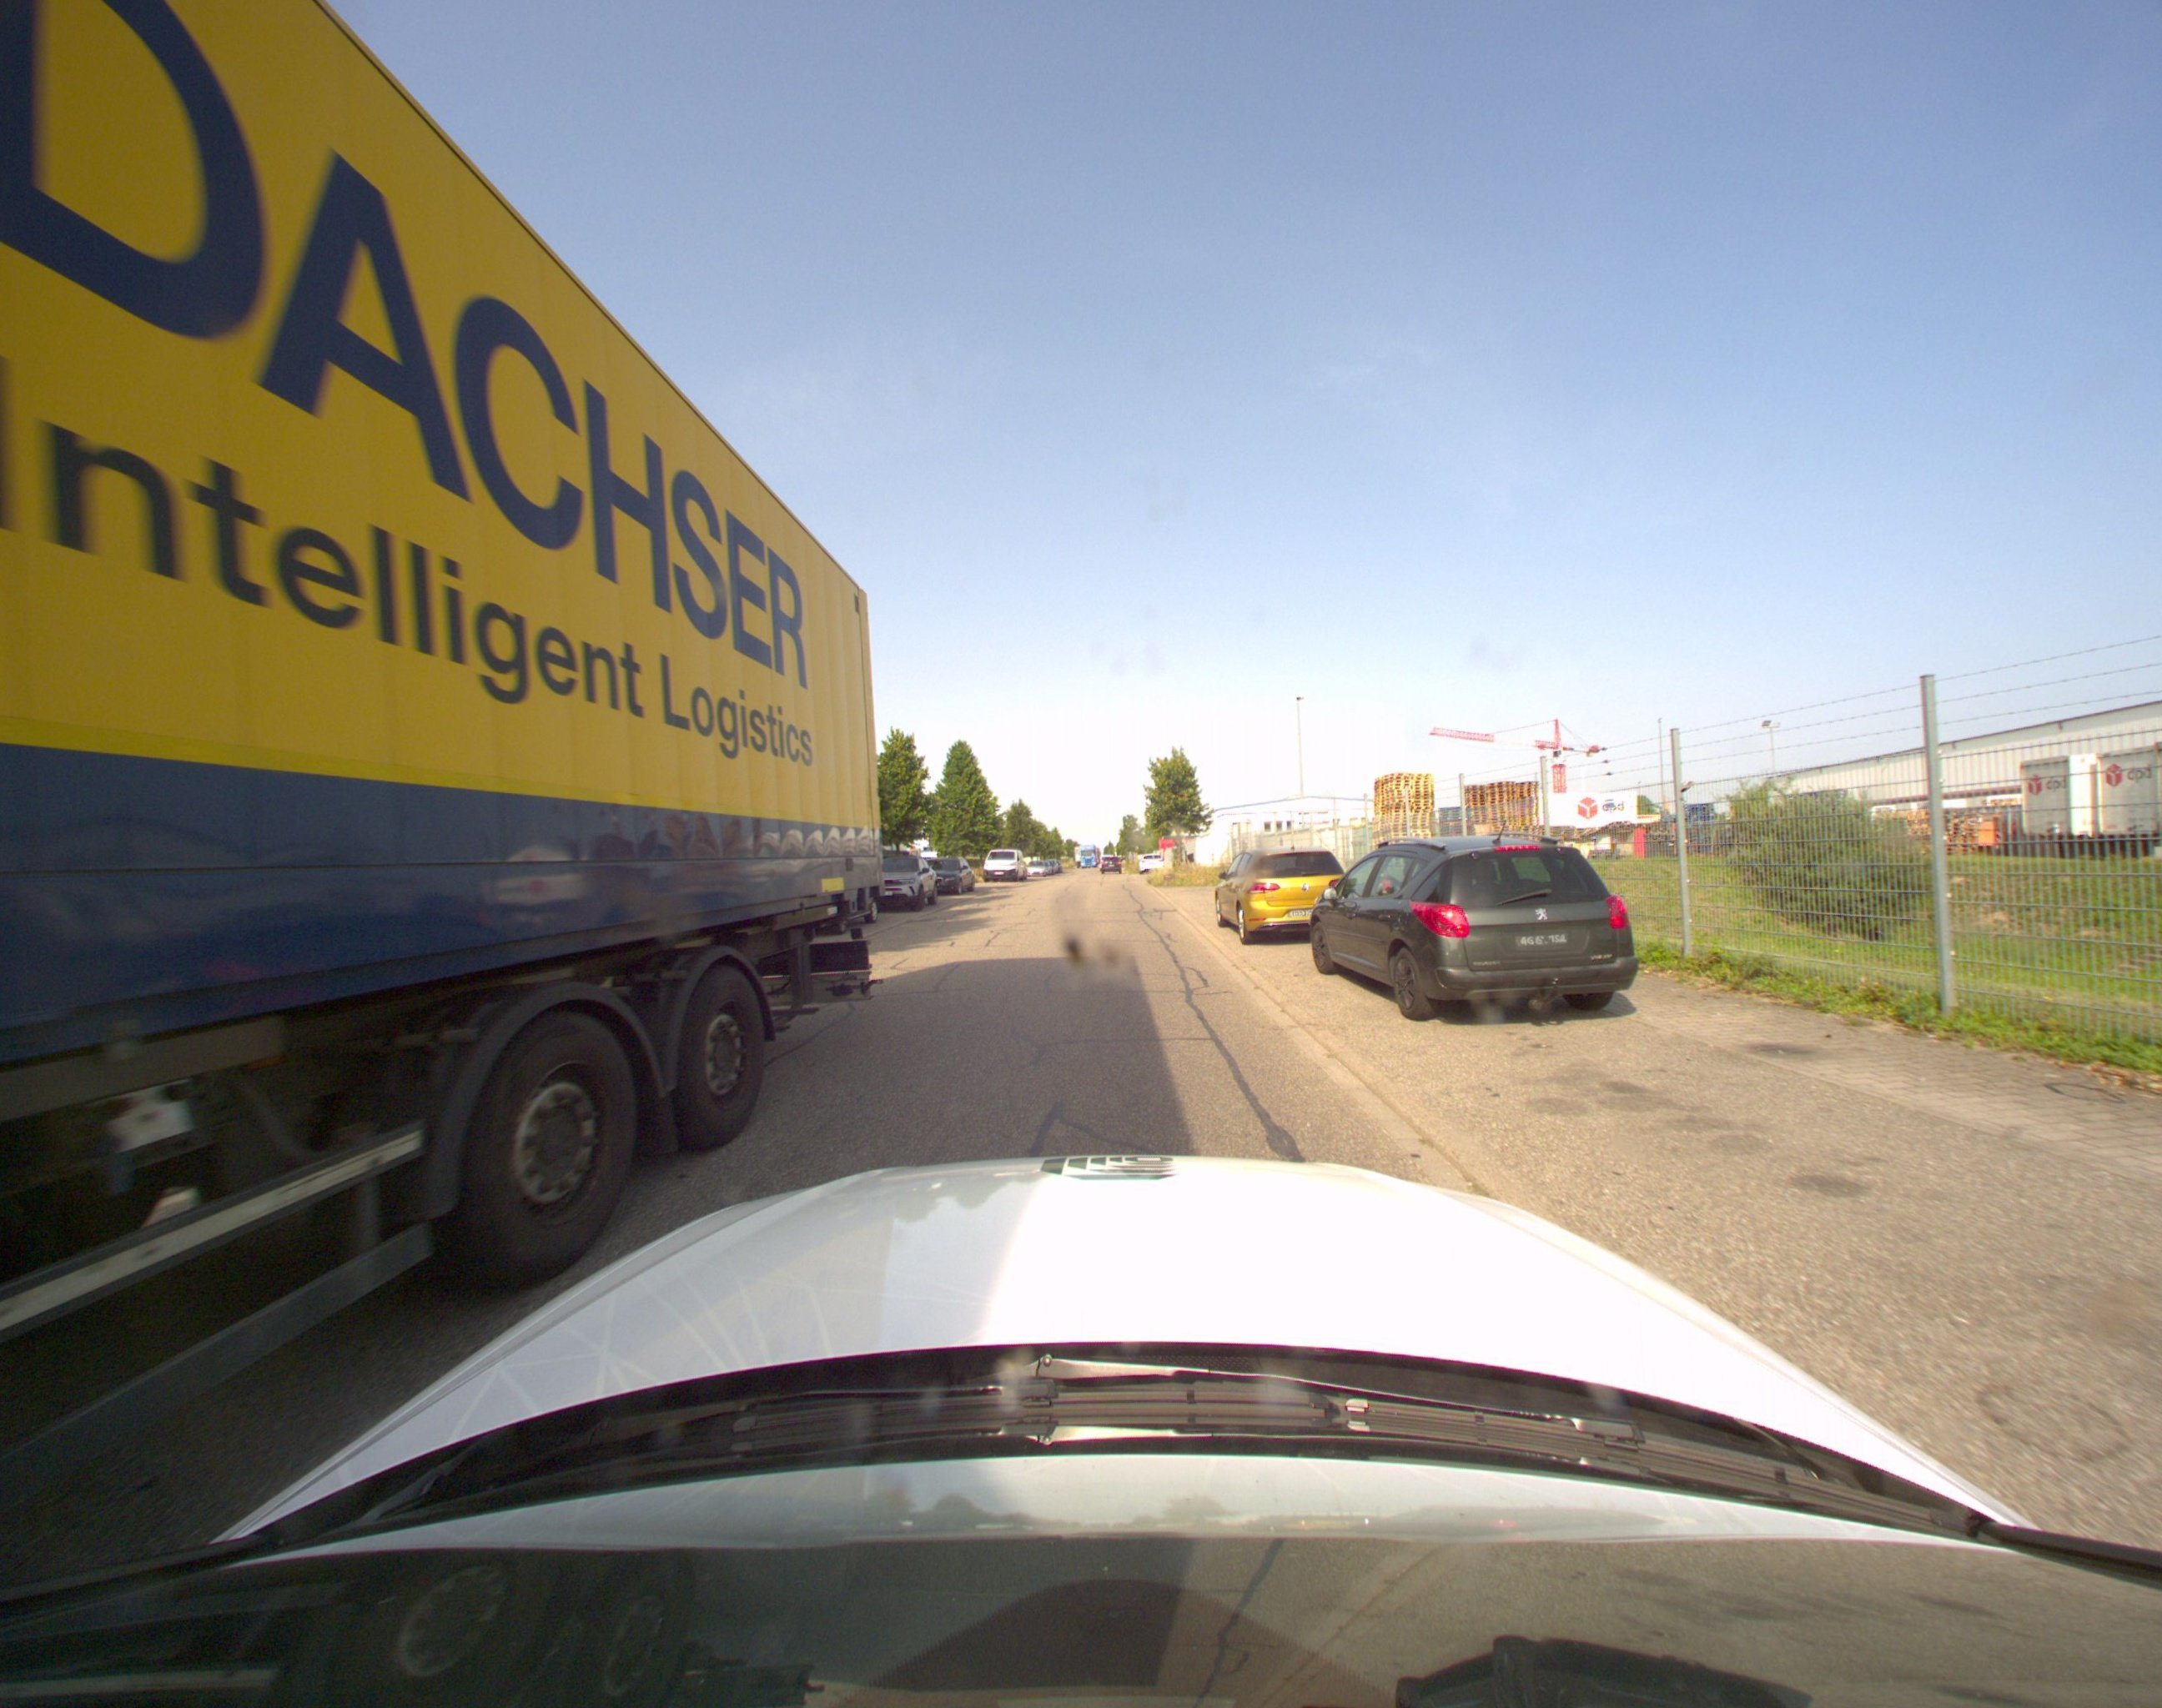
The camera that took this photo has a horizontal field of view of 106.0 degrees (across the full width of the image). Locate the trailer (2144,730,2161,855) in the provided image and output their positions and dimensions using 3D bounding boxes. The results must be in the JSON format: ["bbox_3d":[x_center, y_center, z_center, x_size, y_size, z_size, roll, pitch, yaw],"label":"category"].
[{"bbox_3d":[37.262,-1.909,23.391,7.895,3.893,2.790,0,1,20],"label":"trailer"}]

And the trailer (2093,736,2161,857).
[{"bbox_3d":[38.917,-1.896,26.056,7.895,3.893,2.757,0,1,20],"label":"trailer"}]

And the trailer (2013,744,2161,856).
[{"bbox_3d":[39.602,-1.913,29.119,7.895,3.893,2.757,0,1,20],"label":"trailer"}]

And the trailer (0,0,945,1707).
[{"bbox_3d":[-2.900,-0.476,4.140,2.489,4.145,8.500,-4,0,2],"label":"trailer"}]

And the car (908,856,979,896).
[{"bbox_3d":[-5.253,0.792,31.553,1.825,1.415,4.117,-1,0,3],"label":"car"}]

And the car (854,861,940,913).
[{"bbox_3d":[-5.213,0.890,23.568,1.830,1.288,4.043,-1,0,-4],"label":"car"}]

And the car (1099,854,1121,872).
[{"bbox_3d":[2.718,0.875,77.667,1.875,1.586,4.112,-2,-1,0],"label":"car"}]

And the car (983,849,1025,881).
[{"bbox_3d":[-4.384,0.594,46.978,1.825,1.762,4.052,-1,0,3],"label":"car"}]

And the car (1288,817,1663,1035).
[{"bbox_3d":[3.463,0.543,8.098,1.709,1.515,4.003,-4,0,0],"label":"car"}]

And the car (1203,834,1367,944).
[{"bbox_3d":[3.236,0.505,13.756,1.709,1.455,4.188,-4,0,1],"label":"car"}]

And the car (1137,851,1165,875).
[{"bbox_3d":[5.075,0.624,59.487,1.709,1.680,3.950,-2,0,1],"label":"car"}]

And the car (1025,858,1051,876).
[{"bbox_3d":[-3.774,1.090,71.796,1.798,1.496,3.939,-2,0,3],"label":"car"}]

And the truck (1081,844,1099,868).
[{"bbox_3d":[1.441,0.255,133.414,2.869,3.761,6.083,-2,0,0],"label":"truck"}]
